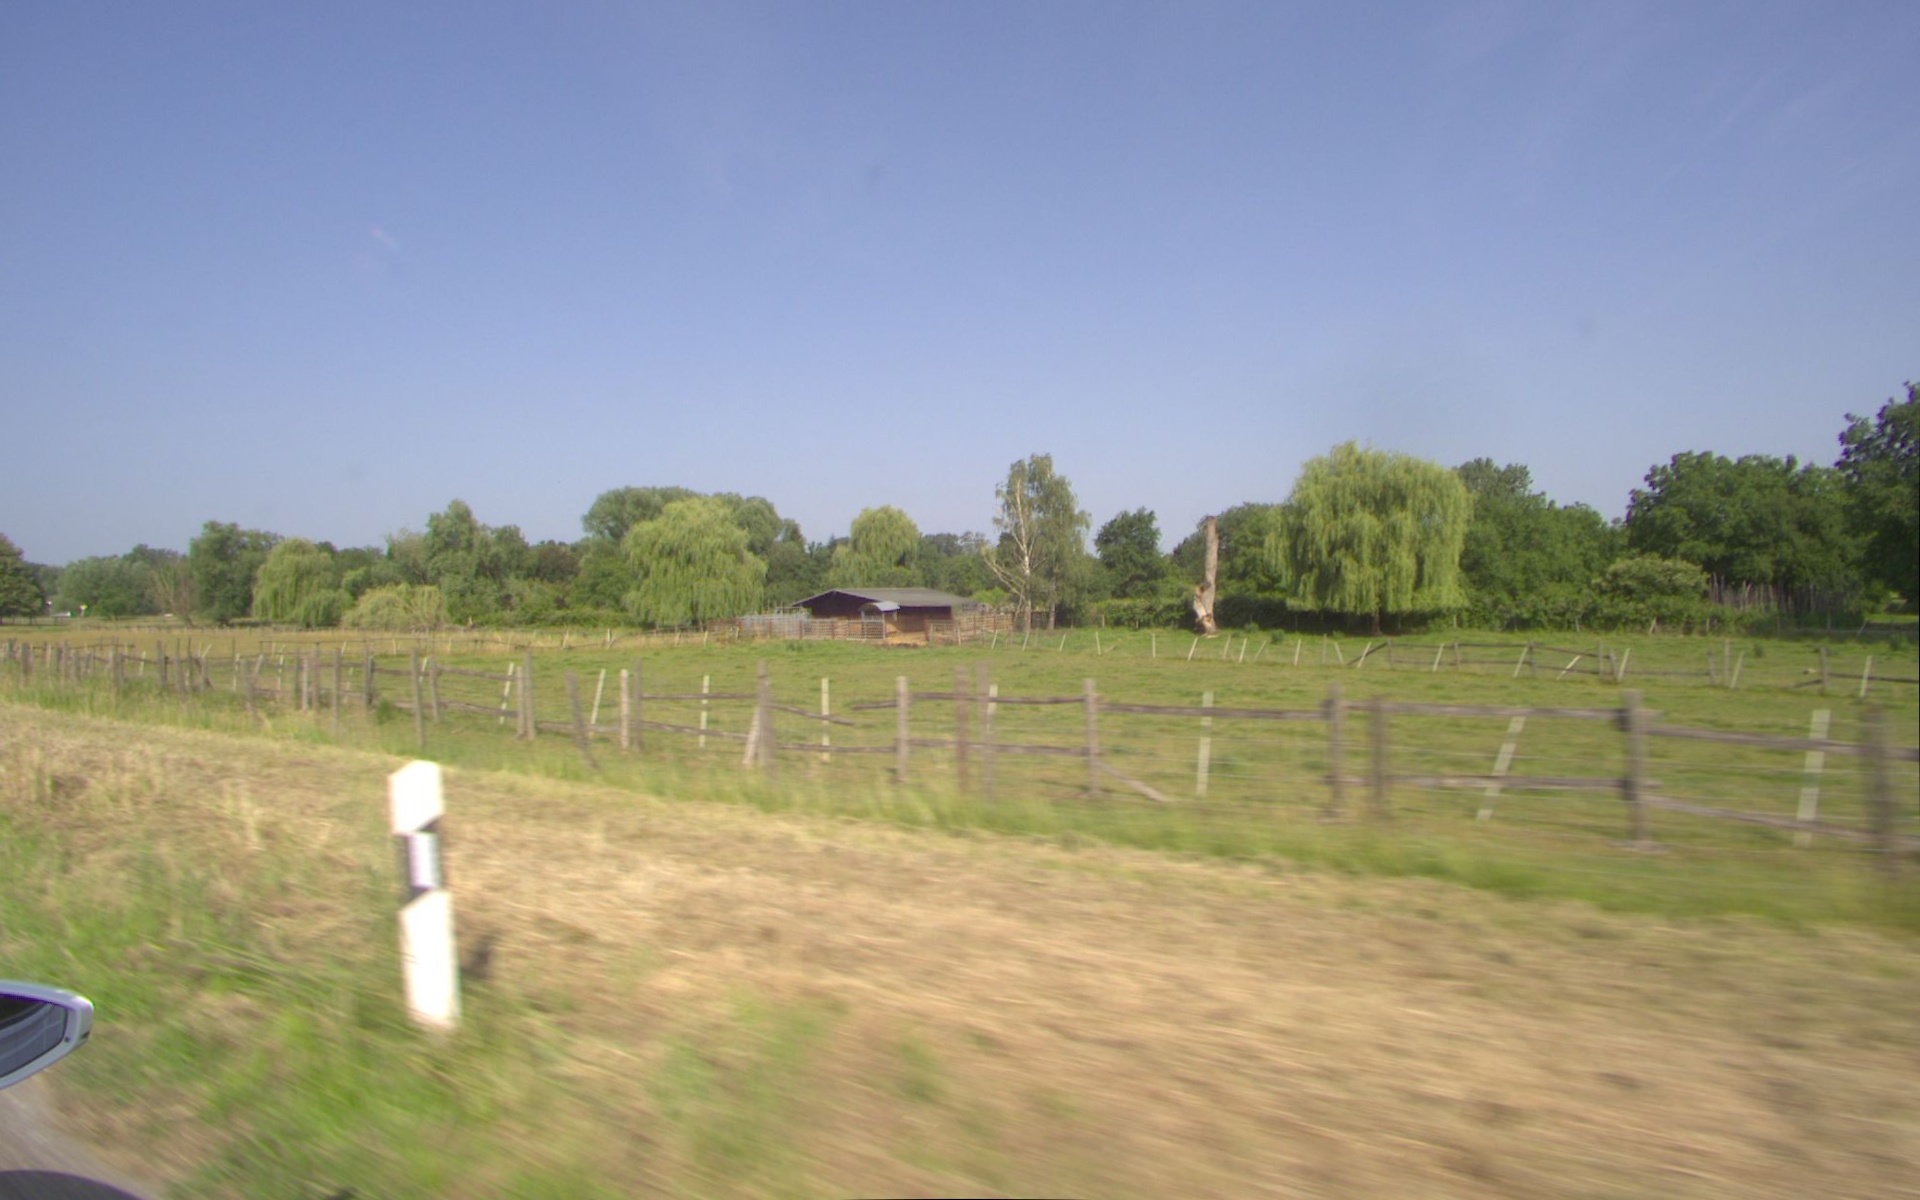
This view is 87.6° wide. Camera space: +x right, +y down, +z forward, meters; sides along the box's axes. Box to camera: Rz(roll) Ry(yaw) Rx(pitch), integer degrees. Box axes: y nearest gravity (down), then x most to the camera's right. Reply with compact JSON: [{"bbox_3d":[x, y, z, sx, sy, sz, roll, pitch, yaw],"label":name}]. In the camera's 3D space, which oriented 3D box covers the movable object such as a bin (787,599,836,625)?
[{"bbox_3d":[-12.927,1.057,86.965,4.114,2.222,1.985,-1,-2,40],"label":"movable object such as a bin"}]
